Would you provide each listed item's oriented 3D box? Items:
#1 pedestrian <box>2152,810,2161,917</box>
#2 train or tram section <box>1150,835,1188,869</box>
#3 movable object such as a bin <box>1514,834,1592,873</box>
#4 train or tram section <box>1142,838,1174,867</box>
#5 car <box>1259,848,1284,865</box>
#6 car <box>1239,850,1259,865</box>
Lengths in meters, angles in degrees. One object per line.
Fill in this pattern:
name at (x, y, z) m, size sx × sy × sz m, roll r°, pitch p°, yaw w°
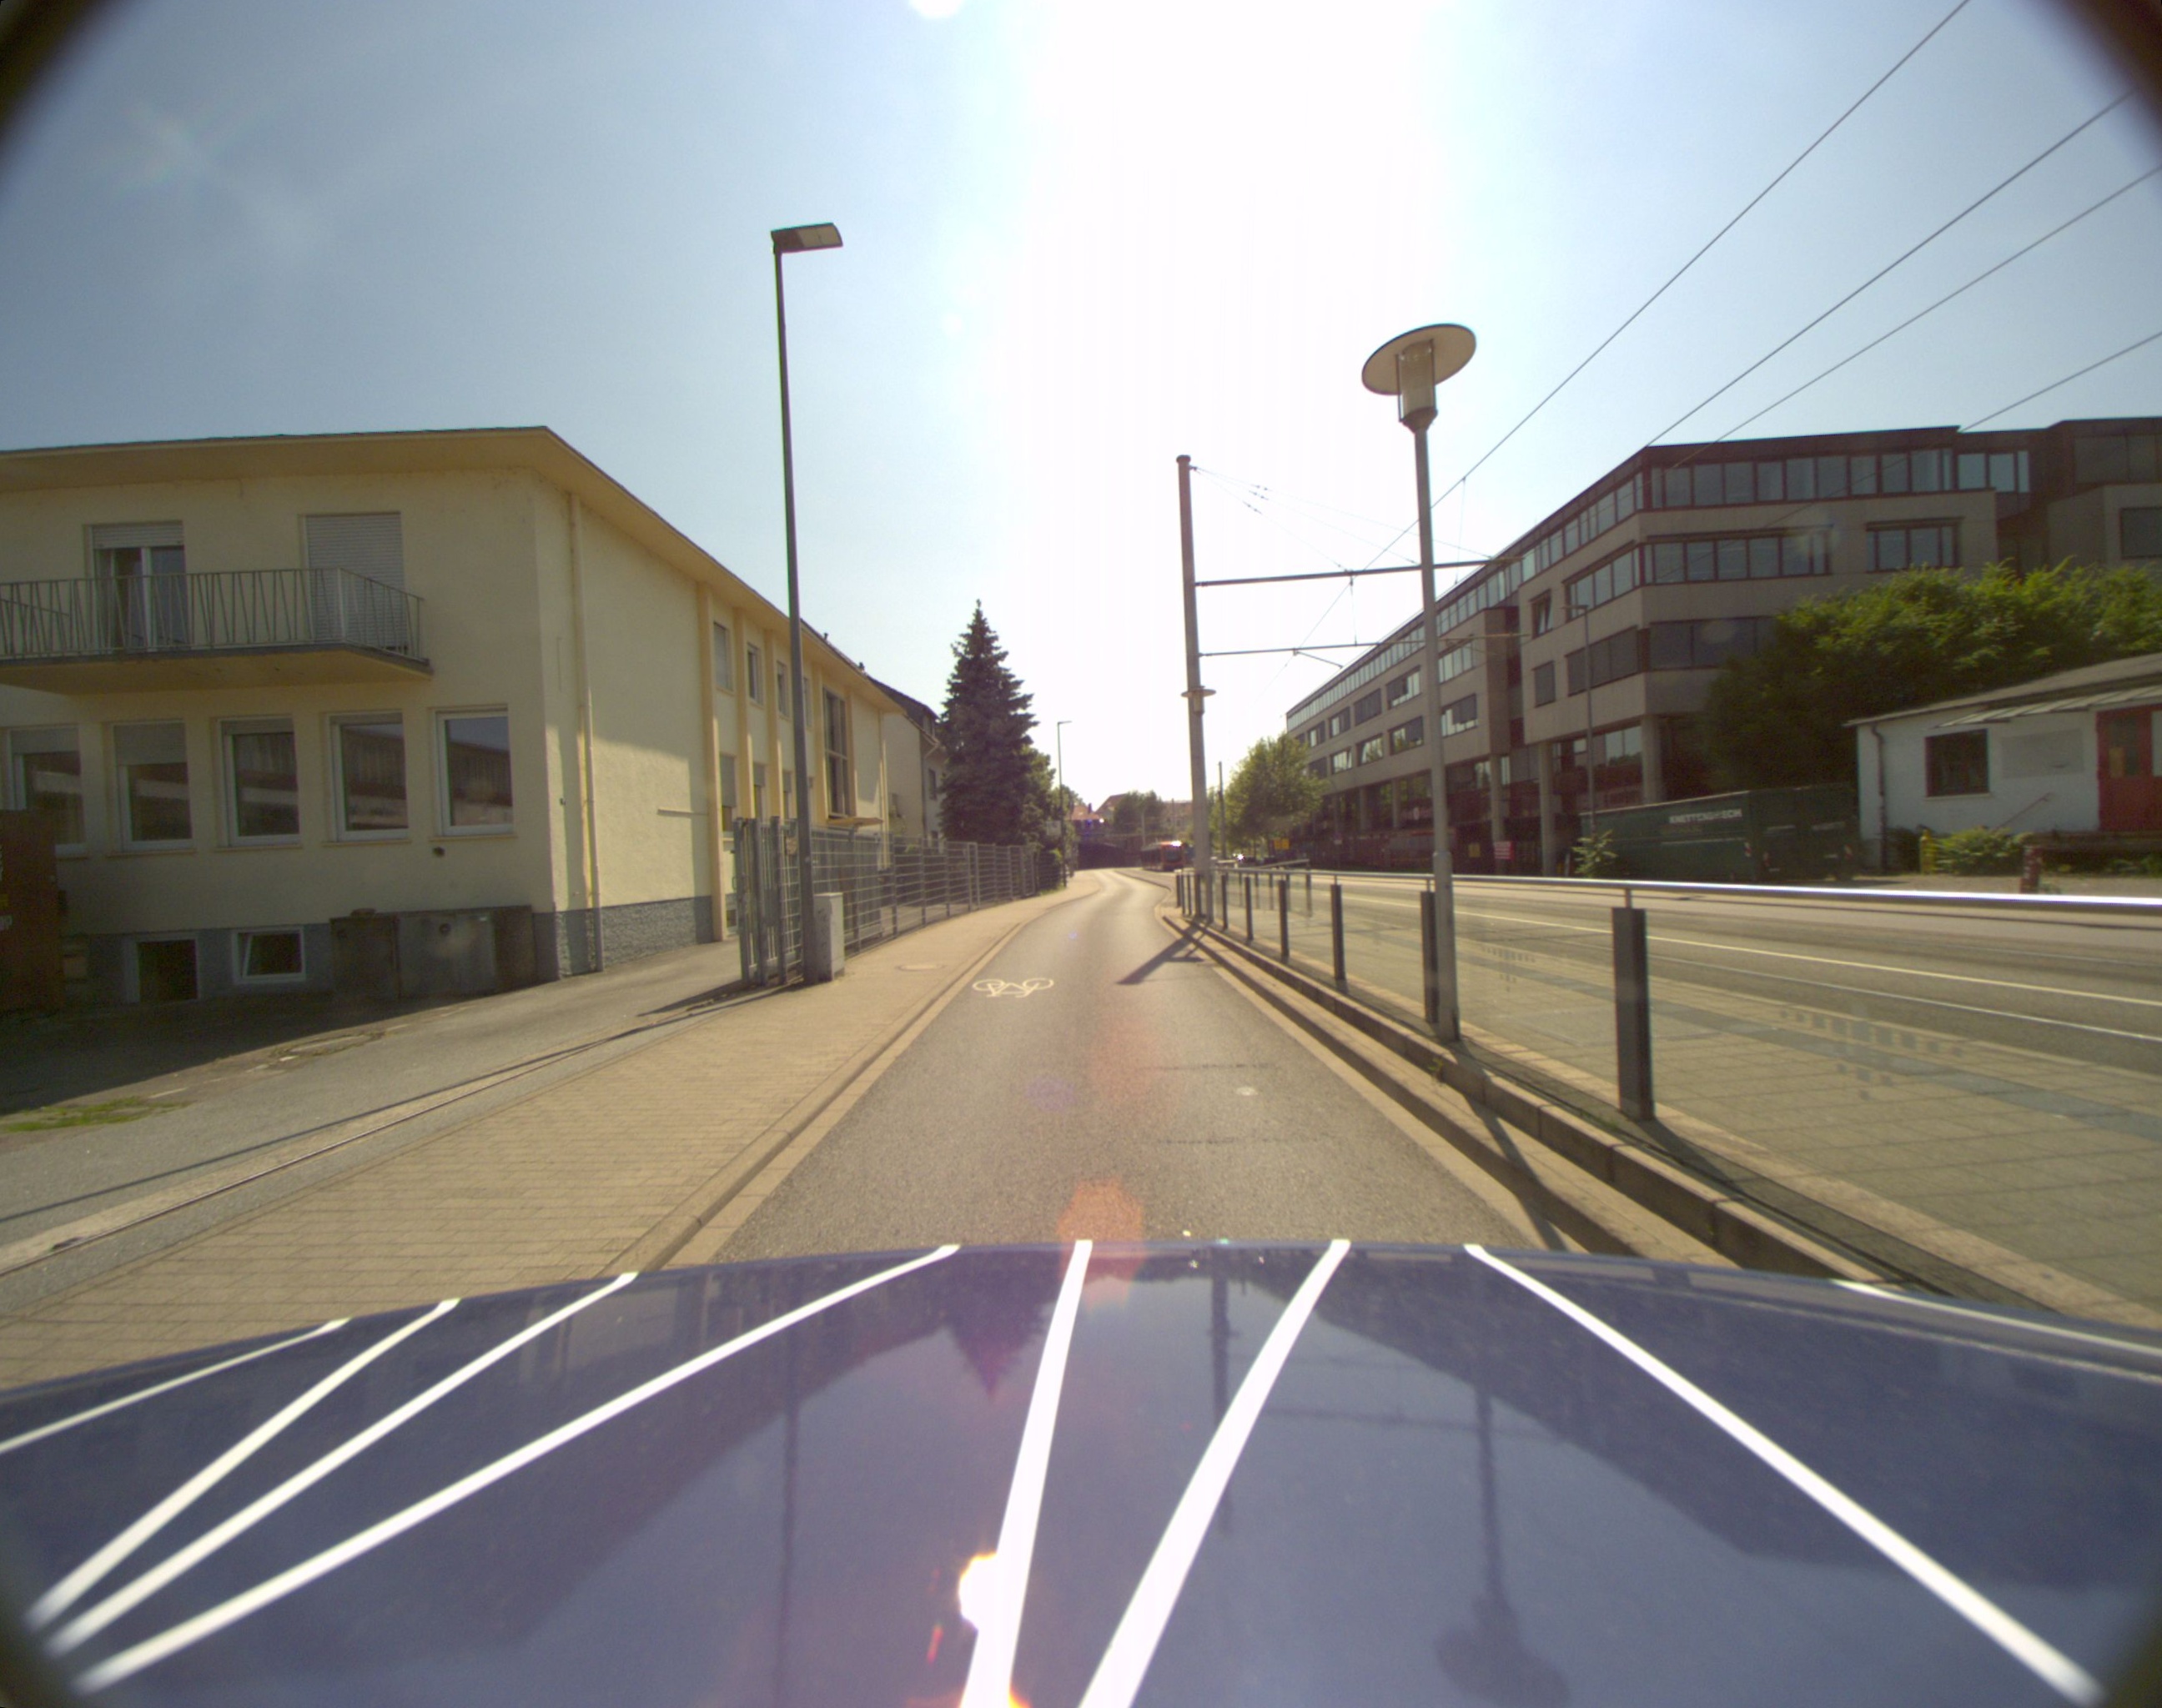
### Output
pedestrian at (15.748, 0.109, 10.425) m, size 0.873 × 1.518 × 0.846 m, roll -3°, pitch 0°, yaw 0°
train or tram section at (9.739, -0.209, 85.559) m, size 2.680 × 3.464 × 12.328 m, roll -3°, pitch 0°, yaw 0°
movable object such as a bin at (25.711, -0.017, 41.472) m, size 1.748 × 2.002 × 3.174 m, roll -3°, pitch 0°, yaw -19°
train or tram section at (9.876, -0.162, 98.361) m, size 2.680 × 3.464 × 13.390 m, roll -3°, pitch 0°, yaw 0°
car at (19.552, 0.288, 78.253) m, size 1.997 × 1.613 × 4.002 m, roll -2°, pitch 0°, yaw 8°
car at (18.906, 0.414, 85.776) m, size 1.870 × 1.608 × 4.002 m, roll -2°, pitch 0°, yaw 8°
